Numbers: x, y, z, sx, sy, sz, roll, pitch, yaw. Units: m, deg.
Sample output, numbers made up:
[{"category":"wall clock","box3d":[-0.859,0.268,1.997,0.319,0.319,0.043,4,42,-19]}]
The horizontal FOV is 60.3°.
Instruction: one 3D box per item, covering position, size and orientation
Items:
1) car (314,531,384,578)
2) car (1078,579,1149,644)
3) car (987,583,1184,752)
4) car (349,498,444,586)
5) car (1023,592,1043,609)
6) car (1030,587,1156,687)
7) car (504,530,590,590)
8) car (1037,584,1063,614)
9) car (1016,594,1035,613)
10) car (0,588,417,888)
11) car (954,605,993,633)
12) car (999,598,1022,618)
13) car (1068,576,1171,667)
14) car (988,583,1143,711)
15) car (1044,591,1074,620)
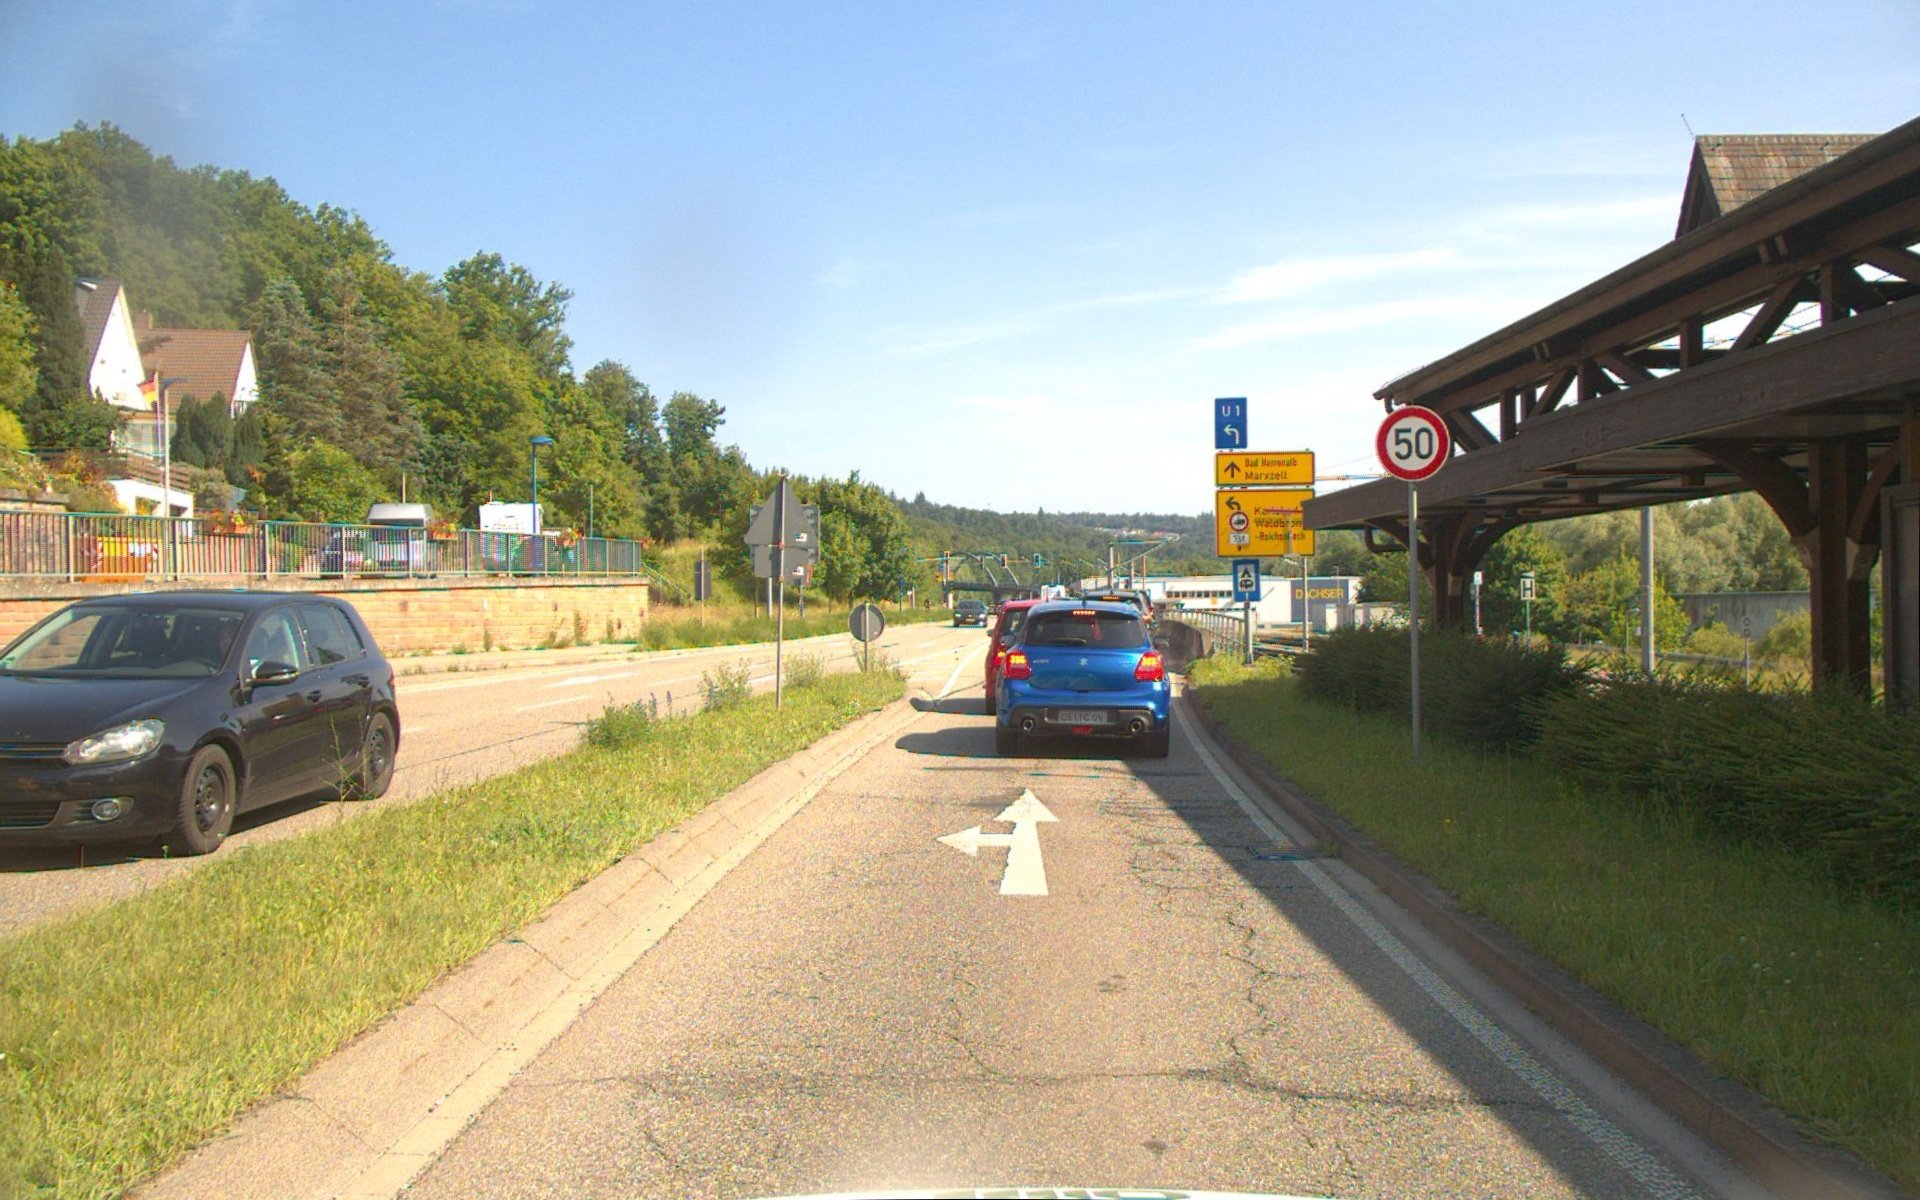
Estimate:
[{"category":"car","box3d":[-22.387,-1.643,60.749,1.862,1.658,3.987,0,0,-12]},{"category":"car","box3d":[4.462,0.312,48.317,1.951,1.766,4.002,1,1,5]},{"category":"car","box3d":[1.254,0.615,17.444,1.829,1.575,4.001,0,0,2]},{"category":"car","box3d":[-17.051,-1.749,50.323,2.057,2.486,5.768,1,1,-12]},{"category":"car","box3d":[7.206,0.034,162.580,1.952,1.619,4.001,1,0,3]},{"category":"car","box3d":[2.283,0.566,28.347,1.951,1.558,4.604,-1,0,5]},{"category":"car","box3d":[-14.186,-1.390,57.088,1.980,1.953,4.729,1,1,-3]},{"category":"car","box3d":[6.889,-0.075,126.618,1.952,2.181,4.722,1,0,3]},{"category":"car","box3d":[7.425,0.361,188.267,1.953,2.049,4.000,1,0,0]},{"category":"car","box3d":[-4.906,0.686,10.289,1.710,1.488,4.043,-1,0,0]},{"category":"car","box3d":[0.799,1.062,93.409,1.753,1.496,4.719,0,0,6]},{"category":"car","box3d":[4.635,0.703,150.721,1.952,1.814,4.002,1,0,3]},{"category":"car","box3d":[3.286,0.405,34.387,1.951,1.716,4.500,1,1,5]},{"category":"car","box3d":[1.507,0.598,23.112,1.951,1.599,4.002,1,0,5]},{"category":"car","box3d":[6.752,0.355,112.619,1.952,1.848,4.002,1,1,3]}]
